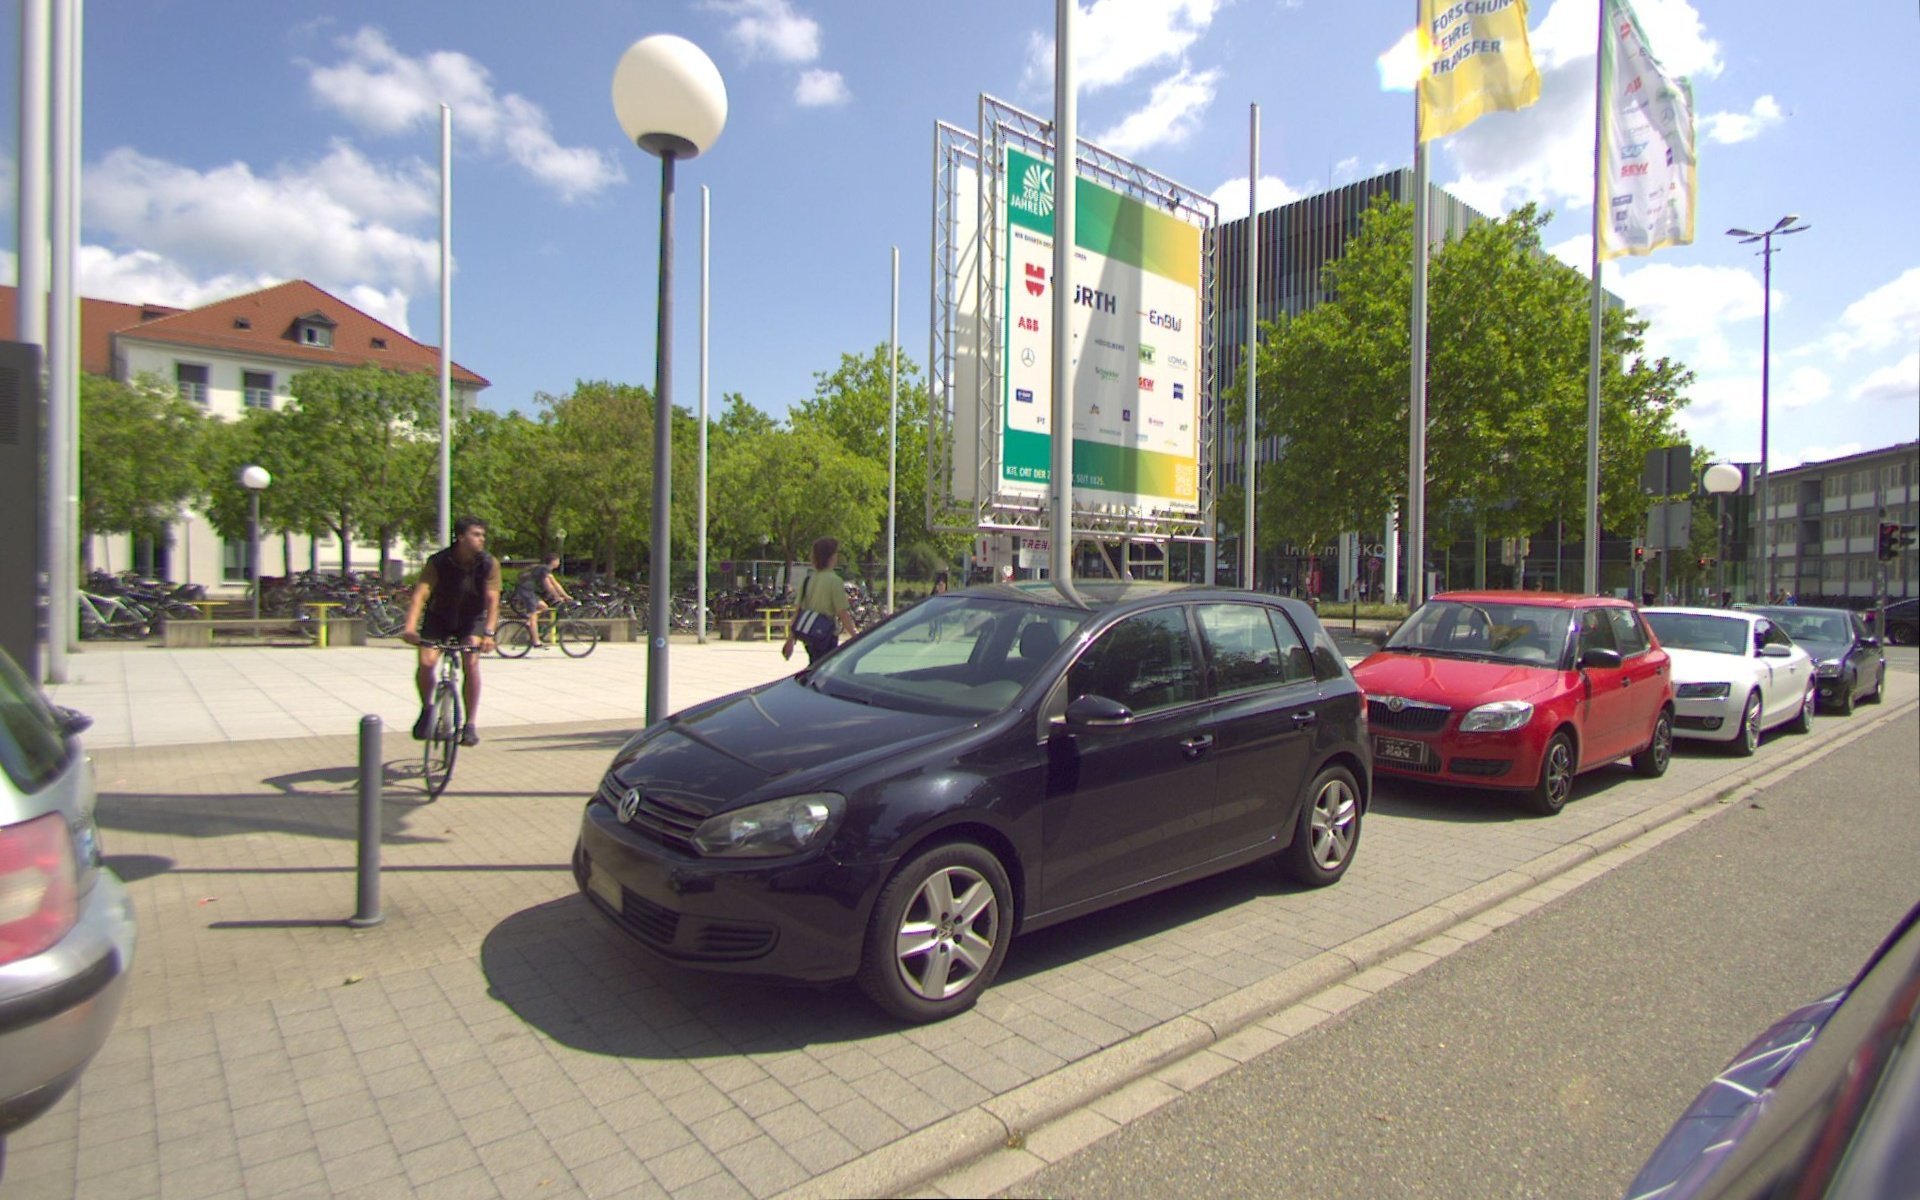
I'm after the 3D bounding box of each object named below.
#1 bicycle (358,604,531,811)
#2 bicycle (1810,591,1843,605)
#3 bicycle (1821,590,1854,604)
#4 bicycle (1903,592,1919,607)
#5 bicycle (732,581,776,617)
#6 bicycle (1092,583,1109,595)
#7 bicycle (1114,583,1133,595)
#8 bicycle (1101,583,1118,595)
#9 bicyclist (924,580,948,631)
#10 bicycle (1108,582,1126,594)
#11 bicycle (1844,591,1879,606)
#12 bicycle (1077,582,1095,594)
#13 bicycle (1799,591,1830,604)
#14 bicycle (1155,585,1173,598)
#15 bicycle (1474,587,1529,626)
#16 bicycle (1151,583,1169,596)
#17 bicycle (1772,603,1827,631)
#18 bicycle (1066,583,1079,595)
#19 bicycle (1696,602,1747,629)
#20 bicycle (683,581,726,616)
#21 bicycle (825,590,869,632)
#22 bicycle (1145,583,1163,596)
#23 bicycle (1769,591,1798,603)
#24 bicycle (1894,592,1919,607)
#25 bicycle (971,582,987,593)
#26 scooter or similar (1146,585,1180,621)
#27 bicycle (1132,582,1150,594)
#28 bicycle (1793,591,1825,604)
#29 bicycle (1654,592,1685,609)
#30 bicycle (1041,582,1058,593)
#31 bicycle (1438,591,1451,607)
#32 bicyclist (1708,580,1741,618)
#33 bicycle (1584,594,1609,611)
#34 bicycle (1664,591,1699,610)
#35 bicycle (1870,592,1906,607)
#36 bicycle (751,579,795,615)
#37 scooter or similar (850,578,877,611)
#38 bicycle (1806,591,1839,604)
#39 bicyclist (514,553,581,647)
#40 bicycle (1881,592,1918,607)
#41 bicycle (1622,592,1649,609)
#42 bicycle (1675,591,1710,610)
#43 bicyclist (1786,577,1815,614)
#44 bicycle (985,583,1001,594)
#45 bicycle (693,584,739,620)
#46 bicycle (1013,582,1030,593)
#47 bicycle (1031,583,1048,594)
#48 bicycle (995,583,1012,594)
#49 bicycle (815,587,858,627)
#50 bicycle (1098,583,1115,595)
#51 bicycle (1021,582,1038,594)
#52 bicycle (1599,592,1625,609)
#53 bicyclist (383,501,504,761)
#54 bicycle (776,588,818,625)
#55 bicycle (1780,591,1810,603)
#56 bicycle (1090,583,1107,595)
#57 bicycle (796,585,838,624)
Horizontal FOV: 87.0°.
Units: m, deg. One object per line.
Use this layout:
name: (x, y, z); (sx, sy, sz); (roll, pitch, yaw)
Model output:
bicycle: (-3.456, 0.607, 6.828); (0.885, 1.092, 2.158); (0, 1, -27)
bicycle: (65.342, -0.176, 76.304); (1.753, 0.967, 0.525); (1, 3, 22)
bicycle: (65.063, -0.203, 75.022); (1.753, 0.967, 0.525); (1, 3, 22)
bicycle: (63.415, -0.030, 66.672); (1.753, 0.967, 0.525); (1, 3, 22)
bicycle: (-6.612, -0.040, 32.528); (0.596, 1.113, 1.757); (0, 0, 19)
bicycle: (11.884, -0.903, 85.663); (1.515, 0.967, 0.374); (-2, 2, -25)
bicycle: (13.422, -0.879, 83.066); (1.515, 0.967, 0.374); (-2, 2, -25)
bicycle: (12.515, -0.959, 84.667); (1.515, 0.967, 0.374); (-2, 2, -25)
bicyclist: (-0.650, 0.148, 27.319); (0.596, 1.337, 0.743); (2, 0, -2)
bicycle: (13.038, -0.988, 83.970); (1.515, 0.967, 0.374); (-2, 2, -25)
bicycle: (64.618, -0.107, 72.535); (1.753, 0.967, 0.525); (1, 3, 22)
bicycle: (10.812, -1.015, 86.922); (1.515, 0.967, 0.374); (-2, 2, -25)
bicycle: (66.291, -0.172, 78.521); (1.753, 0.967, 0.525); (1, 3, 22)
bicycle: (16.204, -0.681, 80.413); (1.515, 0.967, 0.374); (-2, 2, -25)
bicycle: (16.862, 0.203, 31.482); (1.856, 1.086, 0.817); (4, 0, -39)
bicycle: (15.972, -0.848, 80.898); (1.515, 0.967, 0.374); (-2, 2, -25)
bicycle: (36.061, 0.711, 43.486); (1.654, 1.138, 0.689); (1, 1, 25)
bicycle: (9.652, -0.969, 86.970); (0.371, 0.967, 1.525); (1, 3, 38)
bicycle: (33.432, 0.677, 44.459); (1.652, 1.138, 0.690); (1, 1, 22)
bicycle: (-8.838, -0.063, 35.043); (0.596, 1.112, 1.758); (0, 3, 19)
bicycle: (-3.304, 0.302, 29.798); (0.596, 1.112, 1.758); (0, 3, 19)
bicycle: (15.618, -0.850, 81.531); (1.515, 0.967, 0.374); (-2, 2, -25)
bicycle: (67.361, -0.260, 82.797); (1.753, 0.967, 0.525); (1, 3, 22)
bicycle: (63.705, -0.027, 67.614); (1.753, 0.967, 0.525); (1, 3, 22)
bicycle: (1.838, -1.230, 97.829); (1.754, 0.967, 0.432); (-2, 3, -41)
scooter or similar: (6.925, 0.099, 34.625); (0.347, 1.179, 1.191); (-2, 3, -39)
bicycle: (14.724, -1.002, 82.325); (1.515, 0.967, 0.374); (-2, 2, -25)
bicycle: (66.407, -0.223, 79.176); (1.753, 0.967, 0.525); (1, 3, 22)
bicycle: (43.369, 0.042, 61.889); (0.519, 0.967, 1.775); (0, 2, -3)
bicycle: (7.991, -1.120, 90.641); (1.754, 0.967, 0.432); (-2, 3, -41)
bicycle: (30.952, -0.085, 64.695); (0.367, 0.967, 1.542); (1, 2, 10)
bicyclist: (33.531, -0.069, 44.402); (0.987, 1.635, 0.653); (1, 1, 21)
bicycle: (39.450, 0.157, 62.716); (0.519, 0.967, 1.772); (0, 2, 3)
bicycle: (38.676, 0.028, 54.242); (0.519, 0.967, 1.775); (0, 2, -3)
bicycle: (64.327, -0.060, 70.165); (1.753, 0.967, 0.525); (1, 3, 22)
bicycle: (-5.945, -0.106, 32.206); (0.596, 1.112, 1.757); (1, 1, 19)
scooter or similar: (-3.841, -0.228, 40.300); (0.279, 1.248, 1.282); (3, 3, 35)
bicycle: (65.712, -0.183, 77.112); (1.753, 0.967, 0.525); (1, 3, 22)
bicyclist: (-7.166, 0.001, 17.570); (0.864, 1.589, 0.681); (2, 0, -41)
bicycle: (63.956, -0.041, 68.904); (1.753, 0.967, 0.525); (1, 3, 22)
bicycle: (41.461, 0.022, 62.107); (0.519, 0.967, 1.772); (0, 2, 3)
bicycle: (39.260, 0.034, 54.258); (0.519, 0.967, 1.775); (0, 2, -3)
bicyclist: (36.084, -0.194, 43.461); (0.778, 1.557, 0.651); (1, 1, 25)
bicycle: (3.128, -1.071, 96.281); (1.754, 0.967, 0.432); (-2, 3, -41)
bicycle: (-7.783, 0.047, 32.405); (0.596, 1.112, 1.757); (0, 1, 19)
bicycle: (5.670, -1.119, 93.243); (1.754, 0.967, 0.432); (-2, 3, -41)
bicycle: (7.162, -1.039, 91.519); (1.754, 0.967, 0.432); (-2, 3, -41)
bicycle: (4.123, -1.125, 95.157); (1.754, 0.967, 0.432); (-2, 3, -41)
bicycle: (-3.723, 0.181, 30.653); (0.596, 1.112, 1.758); (0, 3, 19)
bicycle: (12.347, -0.968, 85.203); (1.515, 0.967, 0.374); (-2, 2, -25)
bicycle: (6.399, -1.100, 92.510); (1.754, 0.967, 0.432); (-2, 3, -41)
bicycle: (40.217, 0.036, 62.474); (0.519, 0.967, 1.772); (0, 2, 3)
bicyclist: (-3.404, 0.180, 6.717); (0.649, 1.583, 0.935); (1, 1, -25)
bicycle: (-5.204, 0.197, 32.407); (0.596, 1.112, 1.757); (0, 1, 19)
bicycle: (66.813, -0.240, 80.961); (1.753, 0.967, 0.525); (1, 3, 22)
bicycle: (11.767, -0.965, 86.073); (1.515, 0.967, 0.374); (-2, 2, -25)
bicycle: (-4.505, 0.128, 31.933); (0.596, 1.112, 1.758); (0, 3, 19)
